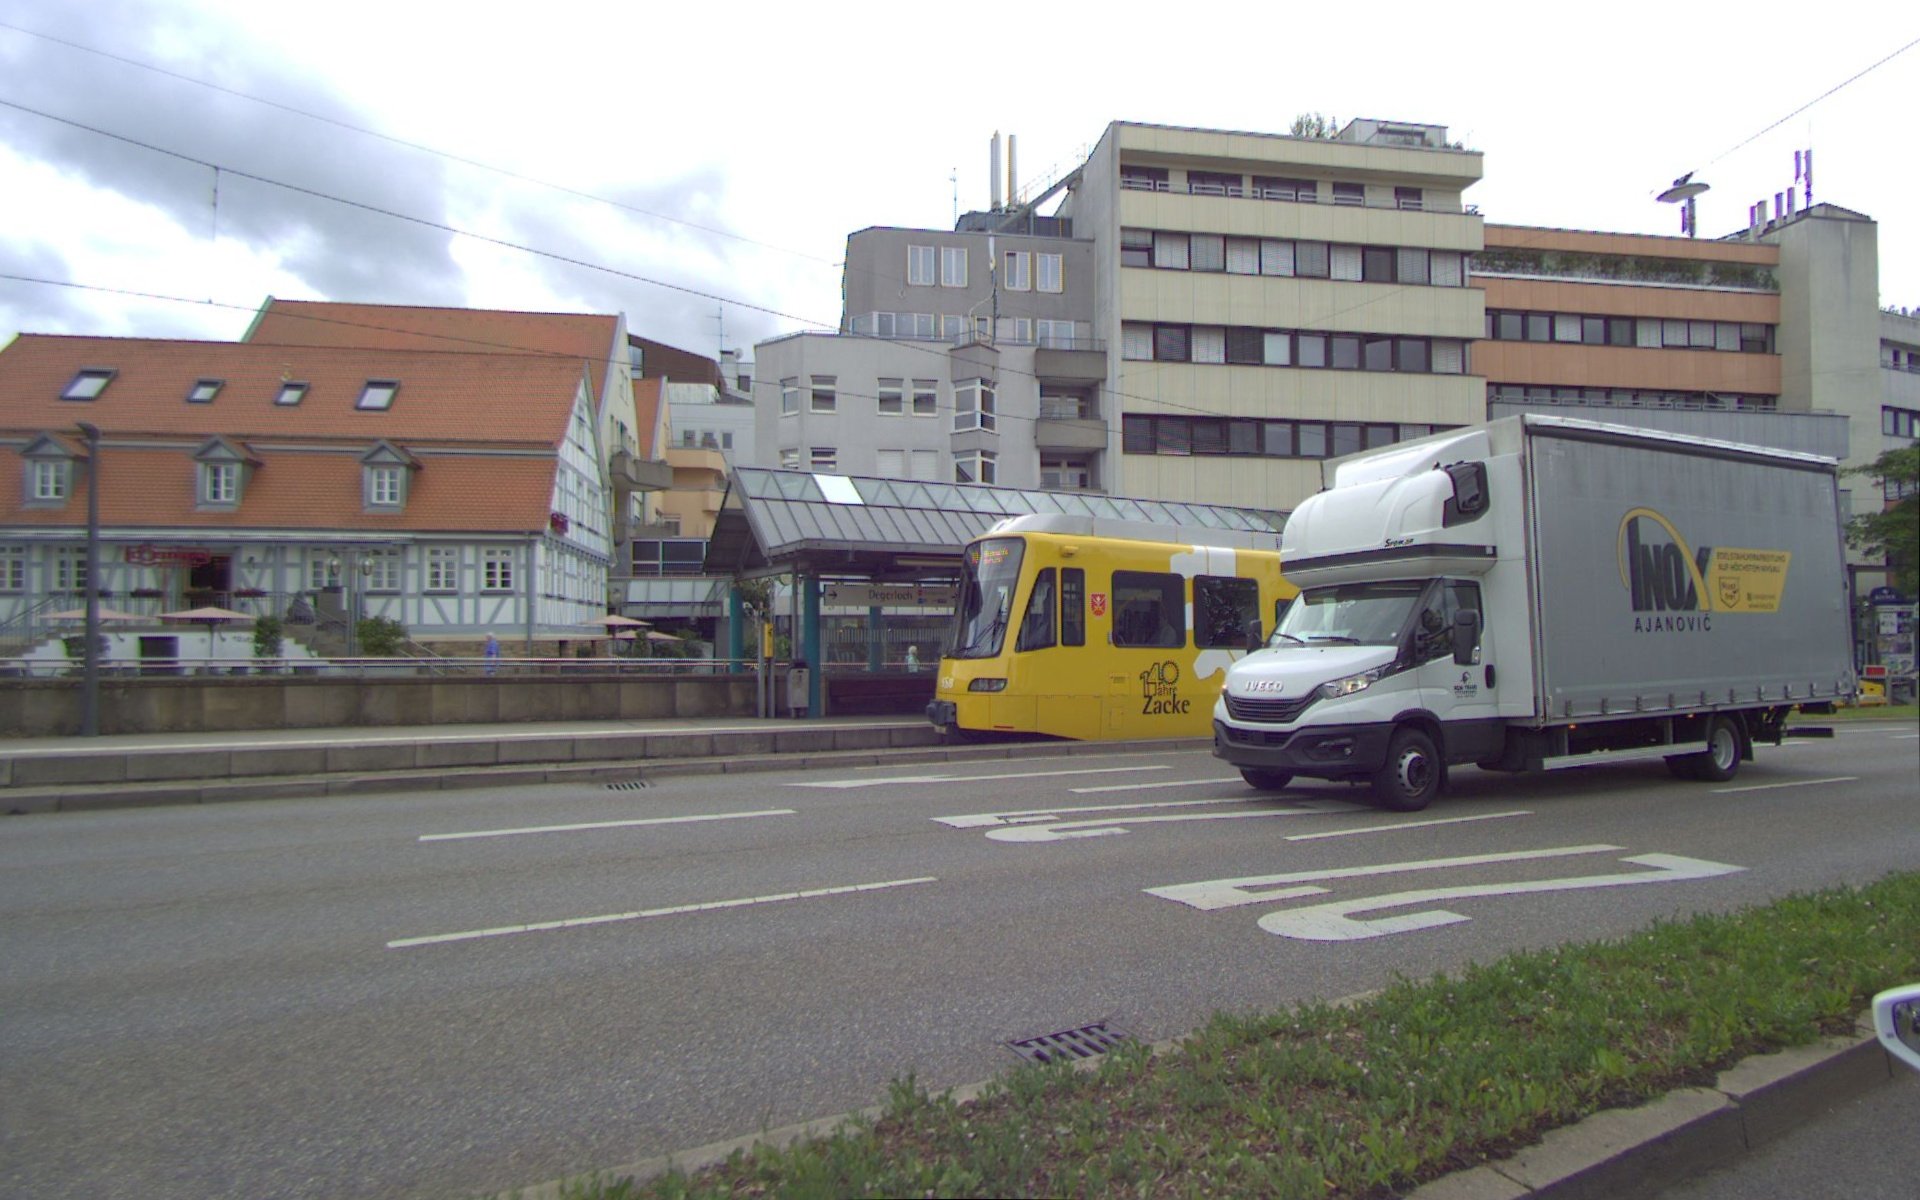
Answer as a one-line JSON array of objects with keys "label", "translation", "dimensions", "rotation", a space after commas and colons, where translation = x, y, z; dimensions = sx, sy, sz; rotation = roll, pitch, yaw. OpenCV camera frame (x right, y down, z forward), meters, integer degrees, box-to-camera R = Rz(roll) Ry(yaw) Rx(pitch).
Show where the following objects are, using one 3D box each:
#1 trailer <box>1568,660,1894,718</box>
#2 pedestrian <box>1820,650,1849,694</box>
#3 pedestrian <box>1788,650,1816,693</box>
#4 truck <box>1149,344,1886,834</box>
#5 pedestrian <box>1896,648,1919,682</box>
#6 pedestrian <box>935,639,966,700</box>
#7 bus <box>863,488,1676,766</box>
[{"label": "trailer", "translation": [21.936, 2.397, 28.231], "dimensions": [11.981, 1.350, 2.829], "rotation": [2, -3, -30]}, {"label": "pedestrian", "translation": [32.011, 2.615, 36.776], "dimensions": [0.612, 1.594, 0.597], "rotation": [2, -3, -27]}, {"label": "pedestrian", "translation": [31.558, 2.657, 37.633], "dimensions": [0.612, 1.594, 0.597], "rotation": [2, -3, -27]}, {"label": "truck", "translation": [6.708, 0.041, 11.605], "dimensions": [9.047, 4.010, 2.928], "rotation": [1, -2, -27]}, {"label": "pedestrian", "translation": [46.681, 3.199, 49.443], "dimensions": [0.610, 1.621, 0.635], "rotation": [2, -1, 14]}, {"label": "pedestrian", "translation": [-0.283, 2.031, 29.600], "dimensions": [0.642, 1.758, 0.807], "rotation": [1, -2, -25]}, {"label": "bus", "translation": [7.554, 0.749, 20.560], "dimensions": [19.109, 3.909, 3.860], "rotation": [2, -3, -30]}]
